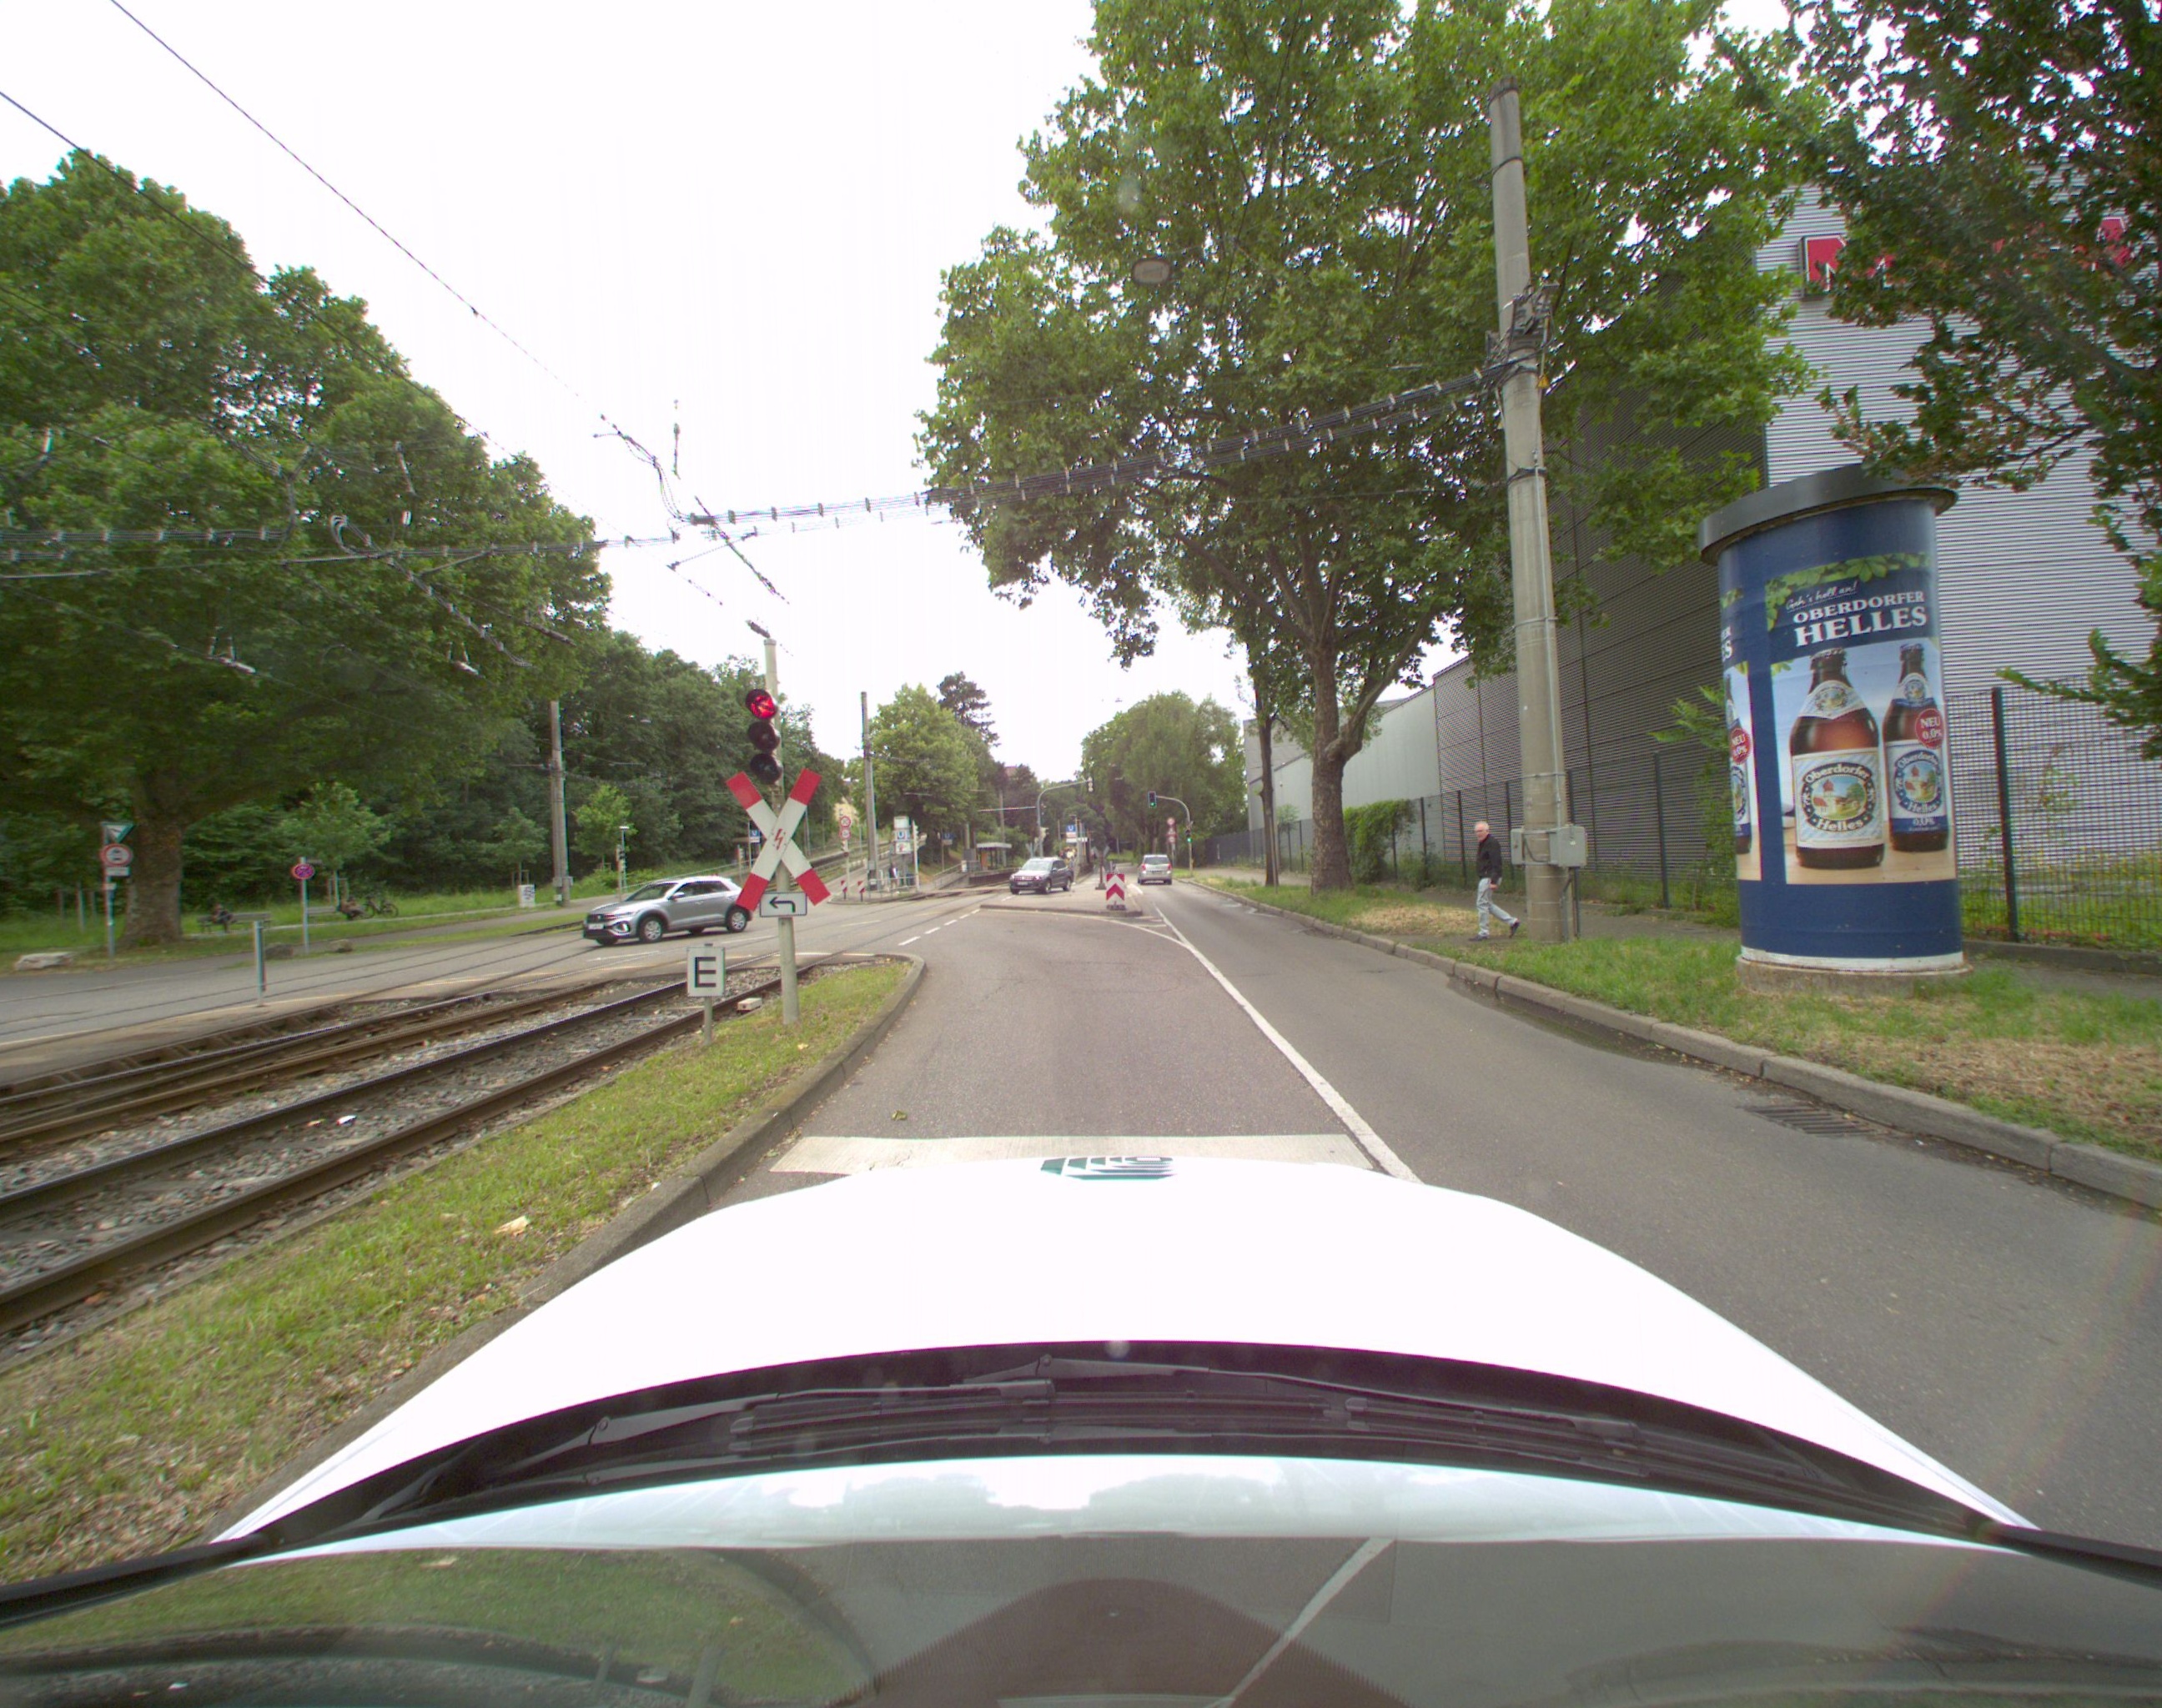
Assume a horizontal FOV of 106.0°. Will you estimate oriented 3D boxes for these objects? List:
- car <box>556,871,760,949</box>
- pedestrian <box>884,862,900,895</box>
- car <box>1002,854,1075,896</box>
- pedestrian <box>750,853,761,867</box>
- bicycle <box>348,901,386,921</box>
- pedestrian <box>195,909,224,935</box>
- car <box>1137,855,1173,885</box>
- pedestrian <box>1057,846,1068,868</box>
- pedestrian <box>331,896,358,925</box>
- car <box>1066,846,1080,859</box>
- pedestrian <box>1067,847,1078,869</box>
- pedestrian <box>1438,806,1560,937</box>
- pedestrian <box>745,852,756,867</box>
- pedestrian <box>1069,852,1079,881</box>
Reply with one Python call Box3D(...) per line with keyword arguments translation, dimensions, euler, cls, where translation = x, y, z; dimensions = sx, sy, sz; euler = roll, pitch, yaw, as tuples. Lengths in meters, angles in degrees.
Box3D(translation=(-10.655, 1.361, 20.855), dimensions=(1.975, 1.578, 4.202), euler=(-3, 0, 25), cls="car")
Box3D(translation=(-10.452, 1.332, 45.055), dimensions=(0.665, 1.821, 0.806), euler=(0, -1, 4), cls="pedestrian")
Box3D(translation=(-1.946, 0.950, 38.489), dimensions=(1.884, 1.718, 4.156), euler=(-5, -2, 19), cls="car")
Box3D(translation=(-30.705, 0.538, 76.848), dimensions=(0.771, 1.326, 0.785), euler=(0, -1, -6), cls="pedestrian")
Box3D(translation=(-33.522, 2.667, 38.231), dimensions=(1.726, 0.885, 0.625), euler=(-1, -1, 21), cls="bicycle")
Box3D(translation=(-35.465, 2.763, 33.126), dimensions=(0.526, 0.989, 0.623), euler=(-1, -1, 17), cls="pedestrian")
Box3D(translation=(4.053, 0.854, 45.268), dimensions=(1.737, 1.599, 4.001), euler=(0, -1, 2), cls="car")
Box3D(translation=(-1.426, 0.246, 61.281), dimensions=(0.735, 1.665, 0.679), euler=(0, -1, -9), cls="pedestrian")
Box3D(translation=(-33.558, 2.570, 37.116), dimensions=(0.574, 1.235, 0.676), euler=(-1, -1, 15), cls="pedestrian")
Box3D(translation=(-1.214, -0.158, 129.592), dimensions=(1.986, 2.014, 4.001), euler=(0, -1, 2), cls="car")
Box3D(translation=(-0.671, 0.303, 62.199), dimensions=(0.735, 1.665, 0.679), euler=(0, -1, -9), cls="pedestrian")
Box3D(translation=(6.185, 0.270, 12.102), dimensions=(1.118, 1.760, 0.810), euler=(-7, -4, -11), cls="pedestrian")
Box3D(translation=(-30.653, 0.527, 75.588), dimensions=(0.771, 1.326, 0.785), euler=(0, 2, -6), cls="pedestrian")
Box3D(translation=(-0.453, 0.775, 50.956), dimensions=(0.547, 1.758, 0.739), euler=(0, -1, 6), cls="pedestrian")
